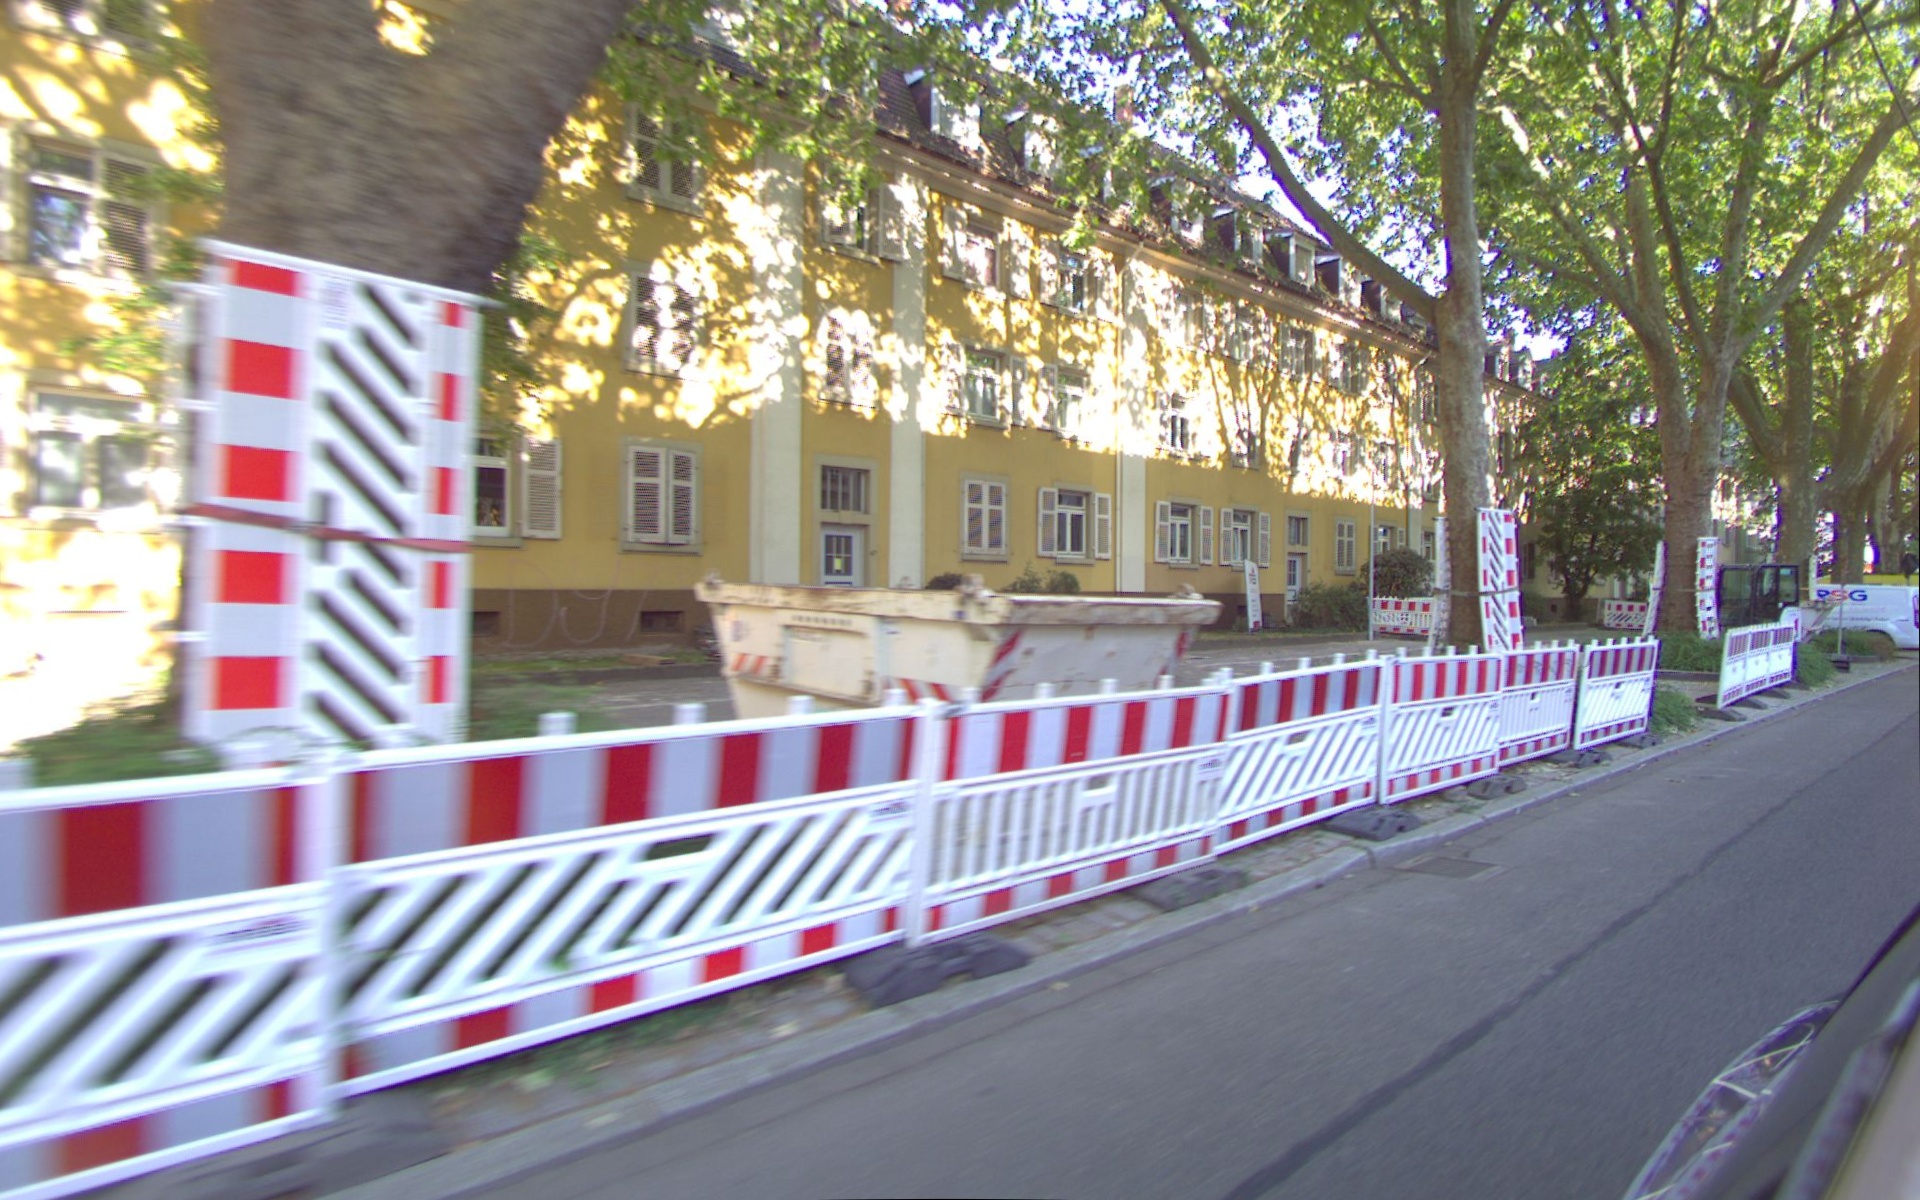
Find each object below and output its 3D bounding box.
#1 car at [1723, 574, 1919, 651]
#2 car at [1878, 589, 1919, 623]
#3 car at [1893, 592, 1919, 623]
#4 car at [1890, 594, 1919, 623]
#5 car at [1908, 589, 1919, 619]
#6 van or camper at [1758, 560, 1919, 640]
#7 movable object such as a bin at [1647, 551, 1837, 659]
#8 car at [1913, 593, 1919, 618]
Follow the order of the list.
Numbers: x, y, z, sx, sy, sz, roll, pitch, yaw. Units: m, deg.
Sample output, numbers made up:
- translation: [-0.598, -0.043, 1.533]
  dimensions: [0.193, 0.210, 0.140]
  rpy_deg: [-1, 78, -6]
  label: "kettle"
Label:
- translation: [25.031, 0.299, 28.910]
  dimensions: [2.027, 2.038, 4.843]
  rpy_deg: [0, 1, -41]
  label: "car"
- translation: [52.339, 0.395, 54.262]
  dimensions: [1.806, 1.753, 4.322]
  rpy_deg: [1, 1, -37]
  label: "car"
- translation: [54.293, 0.448, 55.501]
  dimensions: [1.876, 1.678, 4.432]
  rpy_deg: [0, 2, -42]
  label: "car"
- translation: [50.297, 0.521, 51.868]
  dimensions: [1.832, 1.441, 3.661]
  rpy_deg: [1, 3, -40]
  label: "car"
- translation: [64.678, 0.355, 65.164]
  dimensions: [1.881, 1.878, 5.123]
  rpy_deg: [-1, 3, -41]
  label: "car"
- translation: [31.900, -0.054, 35.373]
  dimensions: [2.229, 2.662, 5.940]
  rpy_deg: [-1, 2, -39]
  label: "van or camper"
- translation: [17.356, 0.108, 22.518]
  dimensions: [3.210, 2.298, 1.489]
  rpy_deg: [0, 0, -7]
  label: "movable object such as a bin"
- translation: [61.145, 0.423, 61.600]
  dimensions: [1.785, 1.542, 4.409]
  rpy_deg: [1, 1, -40]
  label: "car"
